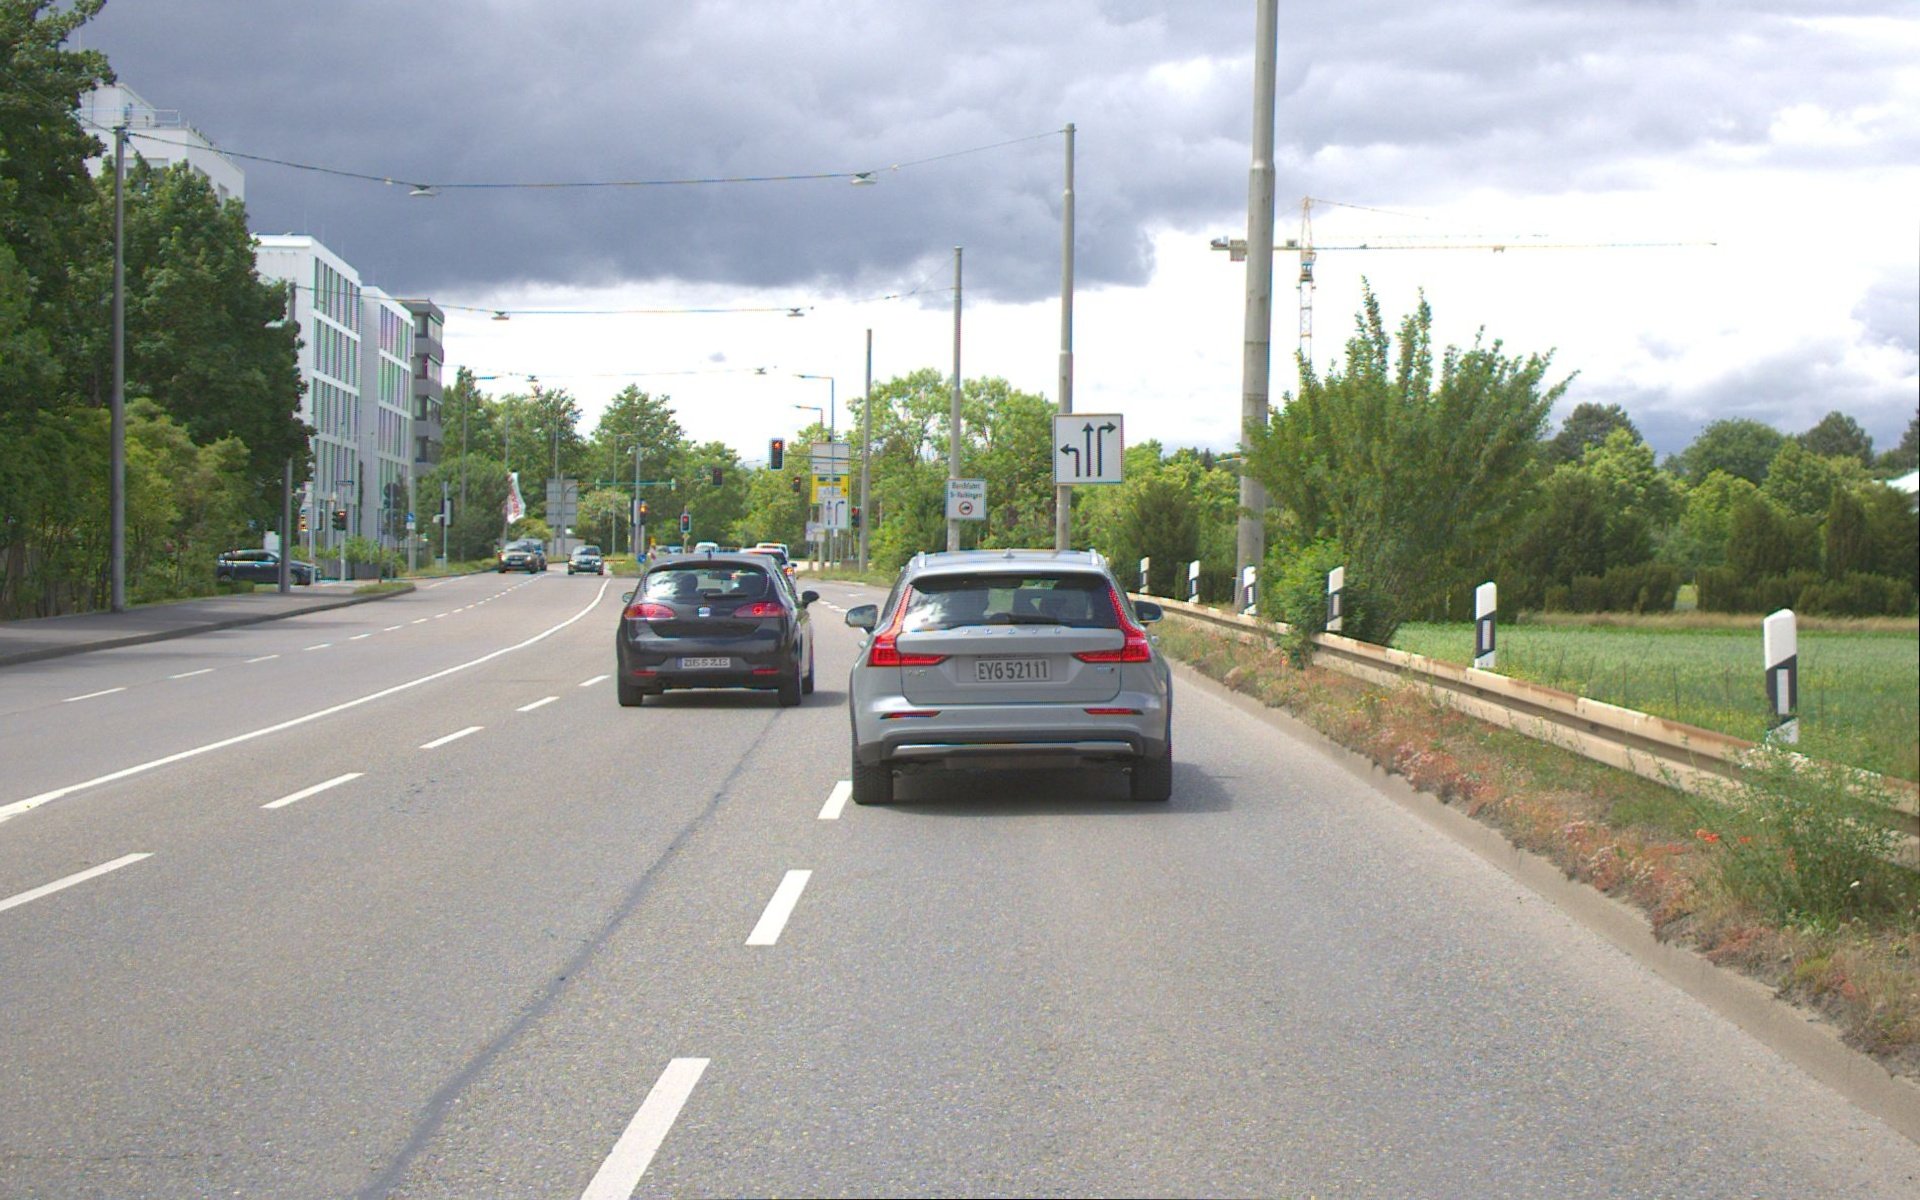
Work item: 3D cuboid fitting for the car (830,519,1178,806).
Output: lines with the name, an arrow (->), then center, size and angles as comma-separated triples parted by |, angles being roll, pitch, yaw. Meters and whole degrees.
car -> 0.308, 0.345, 20.945 | 1.896, 1.549, 4.000 | 1, 0, 2

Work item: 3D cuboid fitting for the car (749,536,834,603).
car -> -4.551, -0.817, 93.291 | 1.993, 1.689, 4.000 | 3, 0, 0

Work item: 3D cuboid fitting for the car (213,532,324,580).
car -> -27.993, -1.779, 139.248 | 3.987, 1.716, 2.000 | 3, 0, 0

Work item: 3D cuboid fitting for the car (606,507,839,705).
car -> -2.236, 0.049, 33.345 | 1.993, 1.711, 4.000 | 3, 0, -1

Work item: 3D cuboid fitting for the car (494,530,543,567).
car -> -22.144, -2.552, 172.489 | 1.882, 1.711, 4.000 | 3, 0, -1

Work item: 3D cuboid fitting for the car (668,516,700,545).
car -> -18.286, -4.610, 227.724 | 1.948, 1.744, 4.389 | 3, 0, -4

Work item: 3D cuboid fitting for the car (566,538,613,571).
car -> -18.364, -2.251, 170.710 | 1.882, 1.515, 4.000 | 3, 0, -1
